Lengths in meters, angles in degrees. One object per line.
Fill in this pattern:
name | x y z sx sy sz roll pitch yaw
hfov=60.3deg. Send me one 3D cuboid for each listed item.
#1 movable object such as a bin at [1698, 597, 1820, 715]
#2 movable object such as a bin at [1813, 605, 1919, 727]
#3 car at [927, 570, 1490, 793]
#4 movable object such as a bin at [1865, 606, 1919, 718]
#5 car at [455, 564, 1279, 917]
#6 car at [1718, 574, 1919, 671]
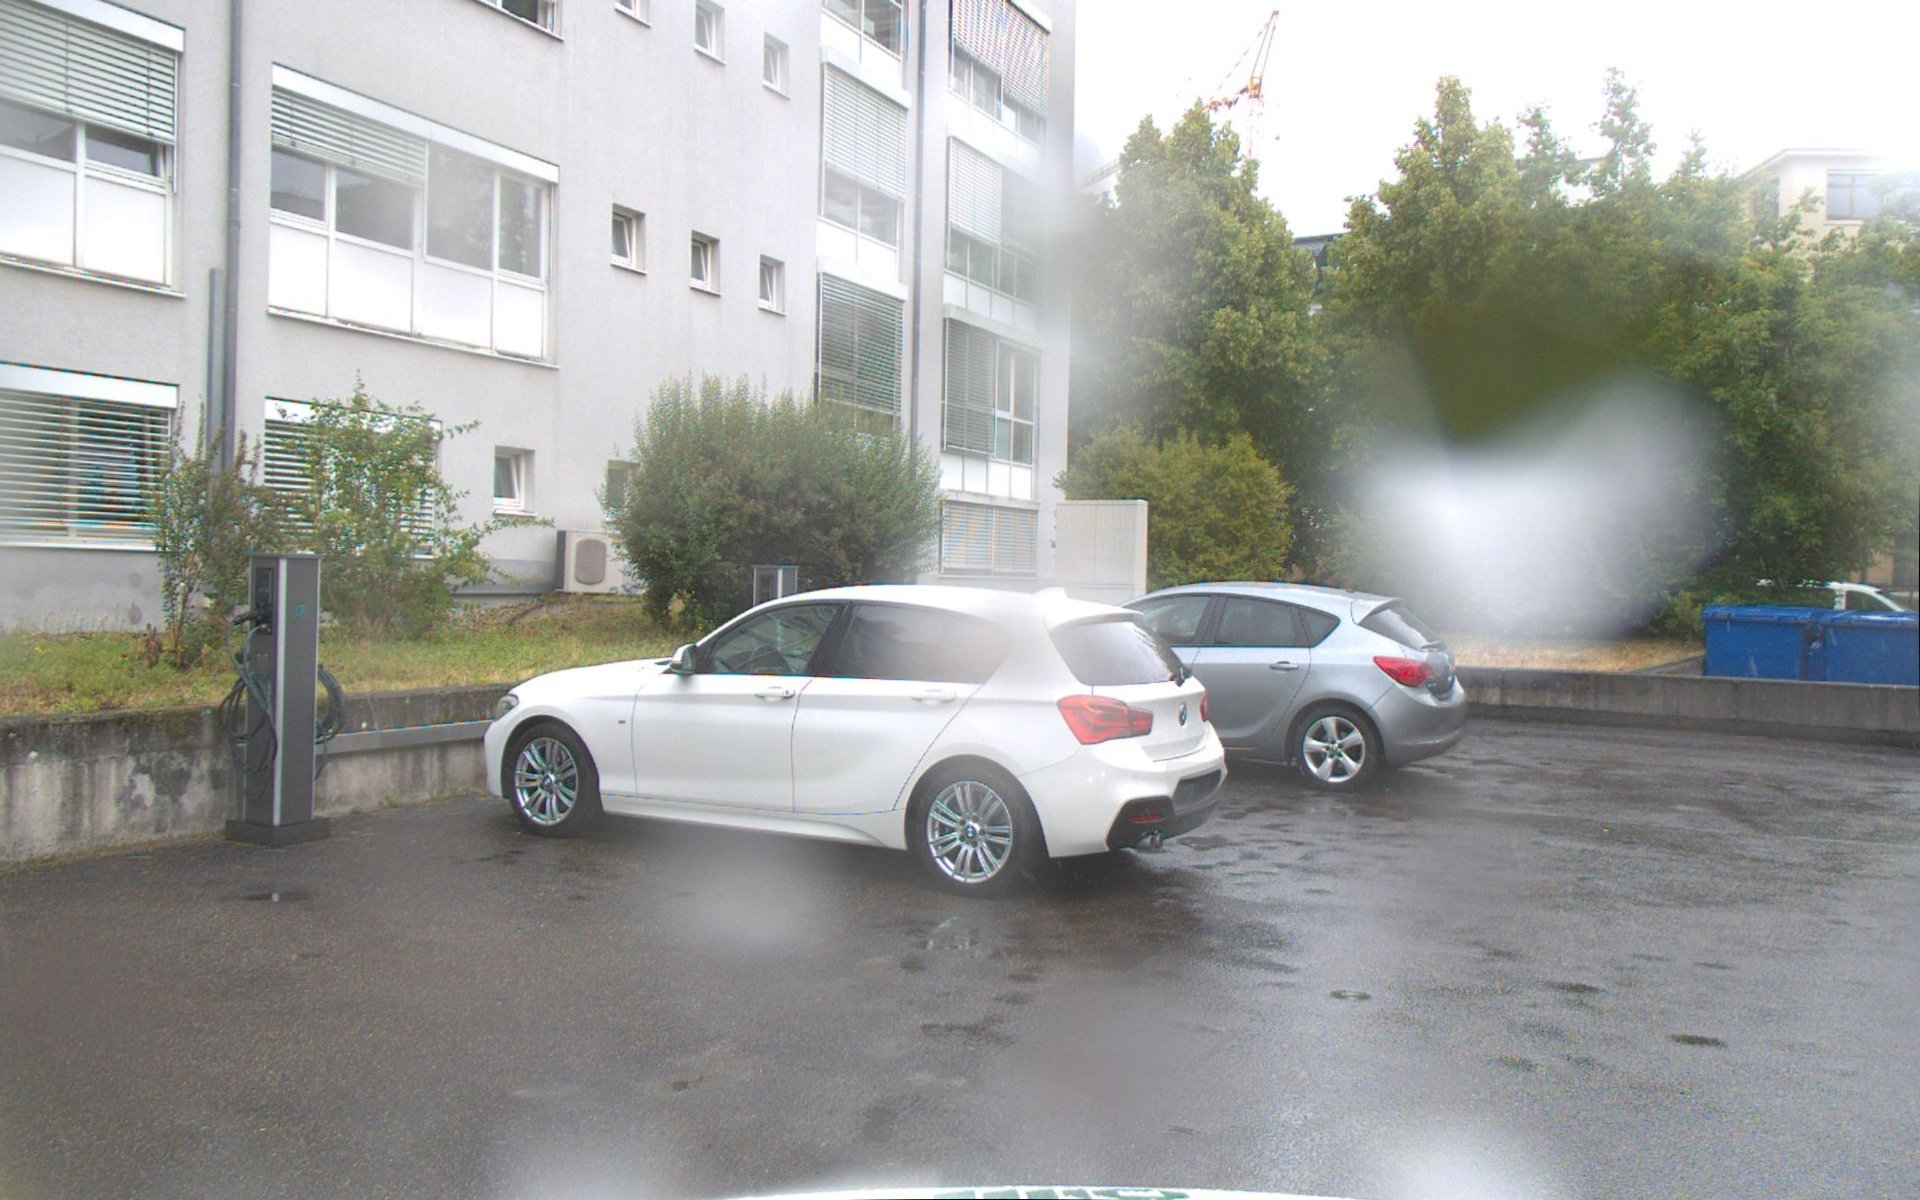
movable object such as a bin | 9.920 0.686 20.497 1.207 1.382 1.966 0 -2 31
movable object such as a bin | 10.996 0.781 19.813 1.285 1.382 1.900 0 -2 31
car | 2.018 0.567 13.547 4.127 1.515 1.997 1 0 28
movable object such as a bin | 12.380 0.802 21.226 1.285 1.382 1.900 0 -2 31
car | -0.536 0.609 9.184 4.127 1.515 1.997 1 0 28
car | 18.639 0.490 34.857 4.600 1.915 2.116 0 -3 34
